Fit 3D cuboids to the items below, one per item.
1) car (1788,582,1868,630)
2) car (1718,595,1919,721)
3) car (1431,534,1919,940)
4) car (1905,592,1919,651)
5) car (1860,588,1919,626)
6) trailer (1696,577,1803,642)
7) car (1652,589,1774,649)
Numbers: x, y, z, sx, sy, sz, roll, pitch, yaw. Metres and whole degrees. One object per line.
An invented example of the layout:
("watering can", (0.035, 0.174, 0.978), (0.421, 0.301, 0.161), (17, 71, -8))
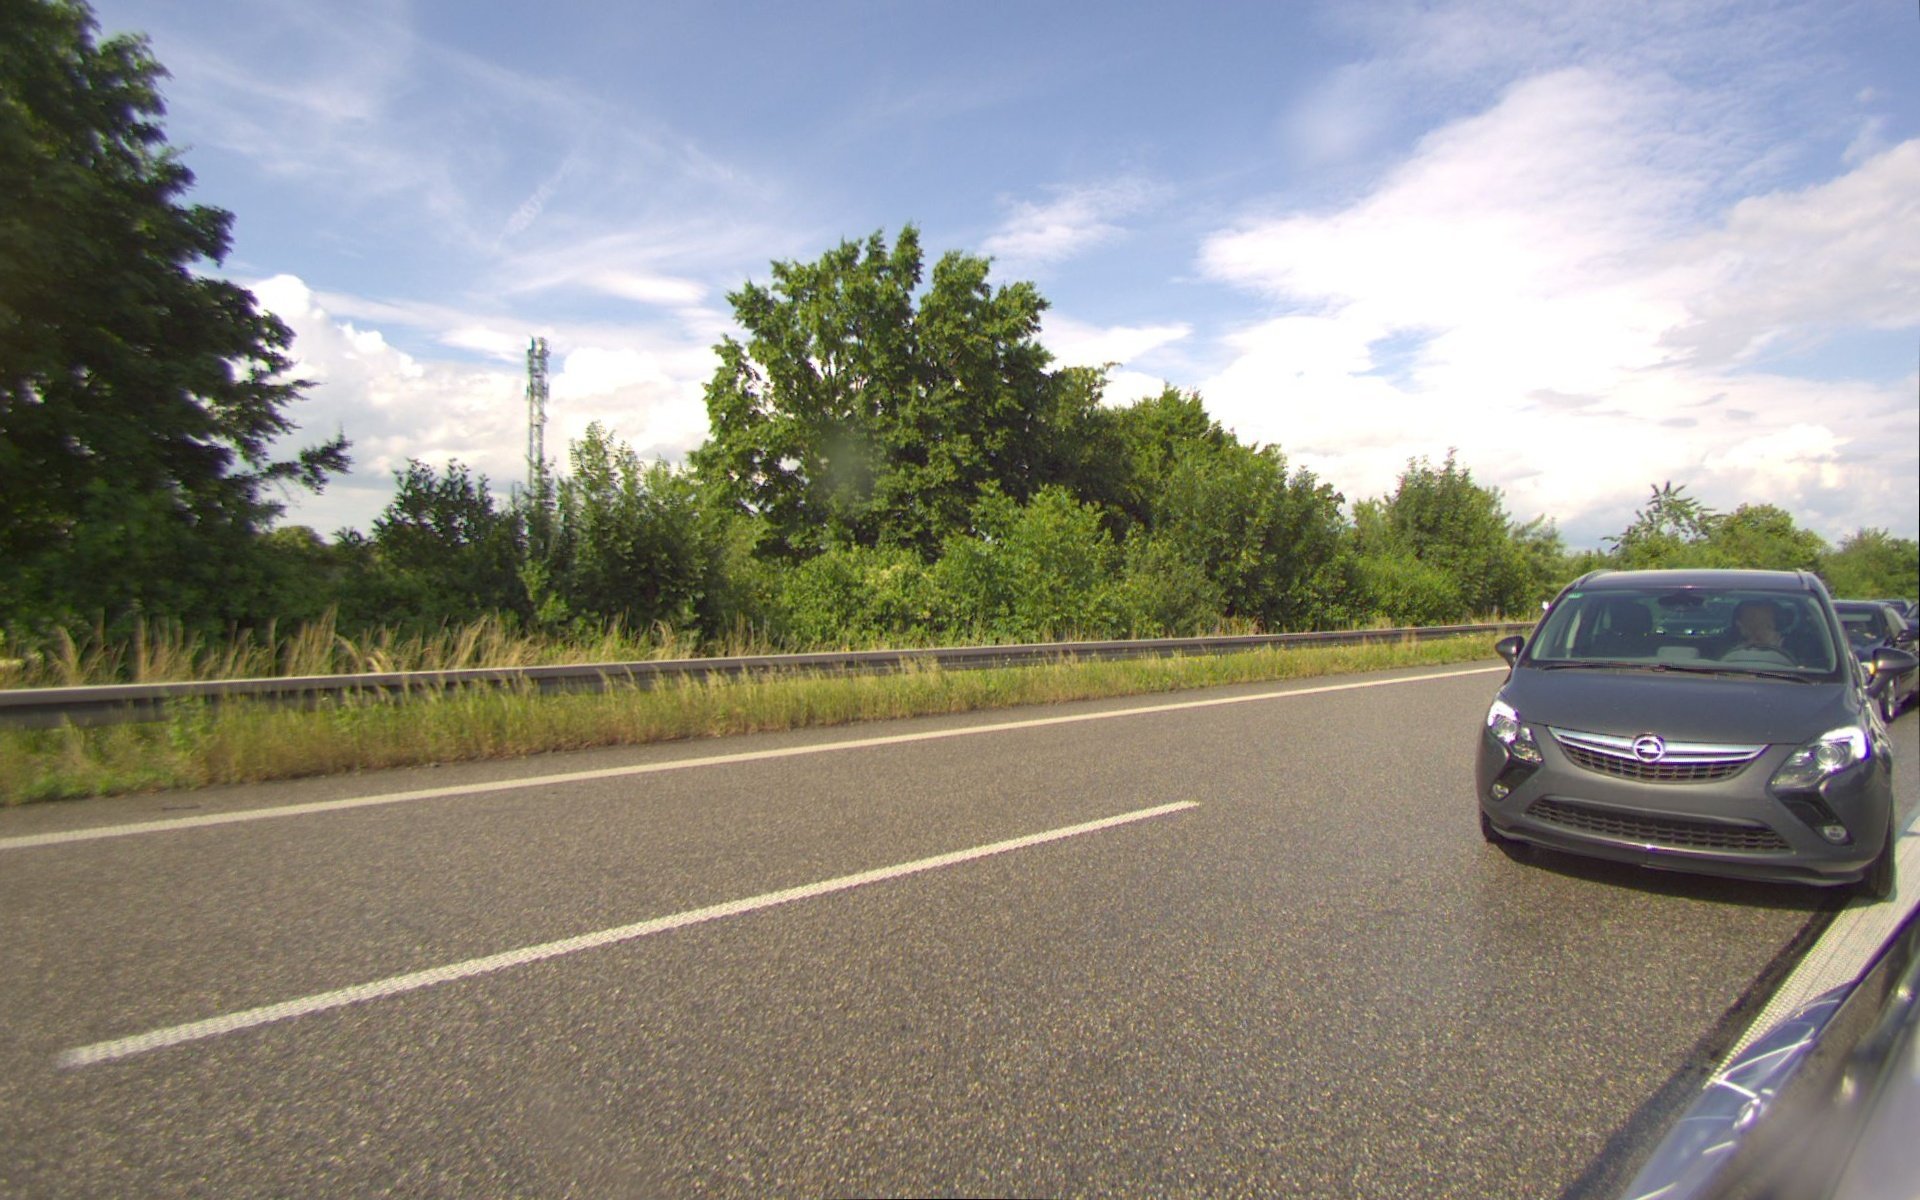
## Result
("car", (28.850, 0.178, 33.597), (3.422, 1.507, 1.614), (-1, 1, -42))
("car", (11.368, 0.638, 13.108), (3.816, 1.371, 1.721), (0, 0, -41))
("car", (4.842, 0.535, 6.420), (4.658, 1.652, 1.855), (0, 1, -44))
("car", (24.207, 0.490, 24.554), (3.935, 1.382, 1.740), (0, 1, -45))
("car", (36.385, 0.230, 39.176), (4.500, 1.368, 1.770), (-1, 1, -41))
("trailer", (22.918, 0.243, 29.329), (3.900, 1.768, 1.808), (0, 0, -42))
("car", (19.831, 0.445, 26.596), (4.329, 1.449, 1.746), (-1, 1, -42))
